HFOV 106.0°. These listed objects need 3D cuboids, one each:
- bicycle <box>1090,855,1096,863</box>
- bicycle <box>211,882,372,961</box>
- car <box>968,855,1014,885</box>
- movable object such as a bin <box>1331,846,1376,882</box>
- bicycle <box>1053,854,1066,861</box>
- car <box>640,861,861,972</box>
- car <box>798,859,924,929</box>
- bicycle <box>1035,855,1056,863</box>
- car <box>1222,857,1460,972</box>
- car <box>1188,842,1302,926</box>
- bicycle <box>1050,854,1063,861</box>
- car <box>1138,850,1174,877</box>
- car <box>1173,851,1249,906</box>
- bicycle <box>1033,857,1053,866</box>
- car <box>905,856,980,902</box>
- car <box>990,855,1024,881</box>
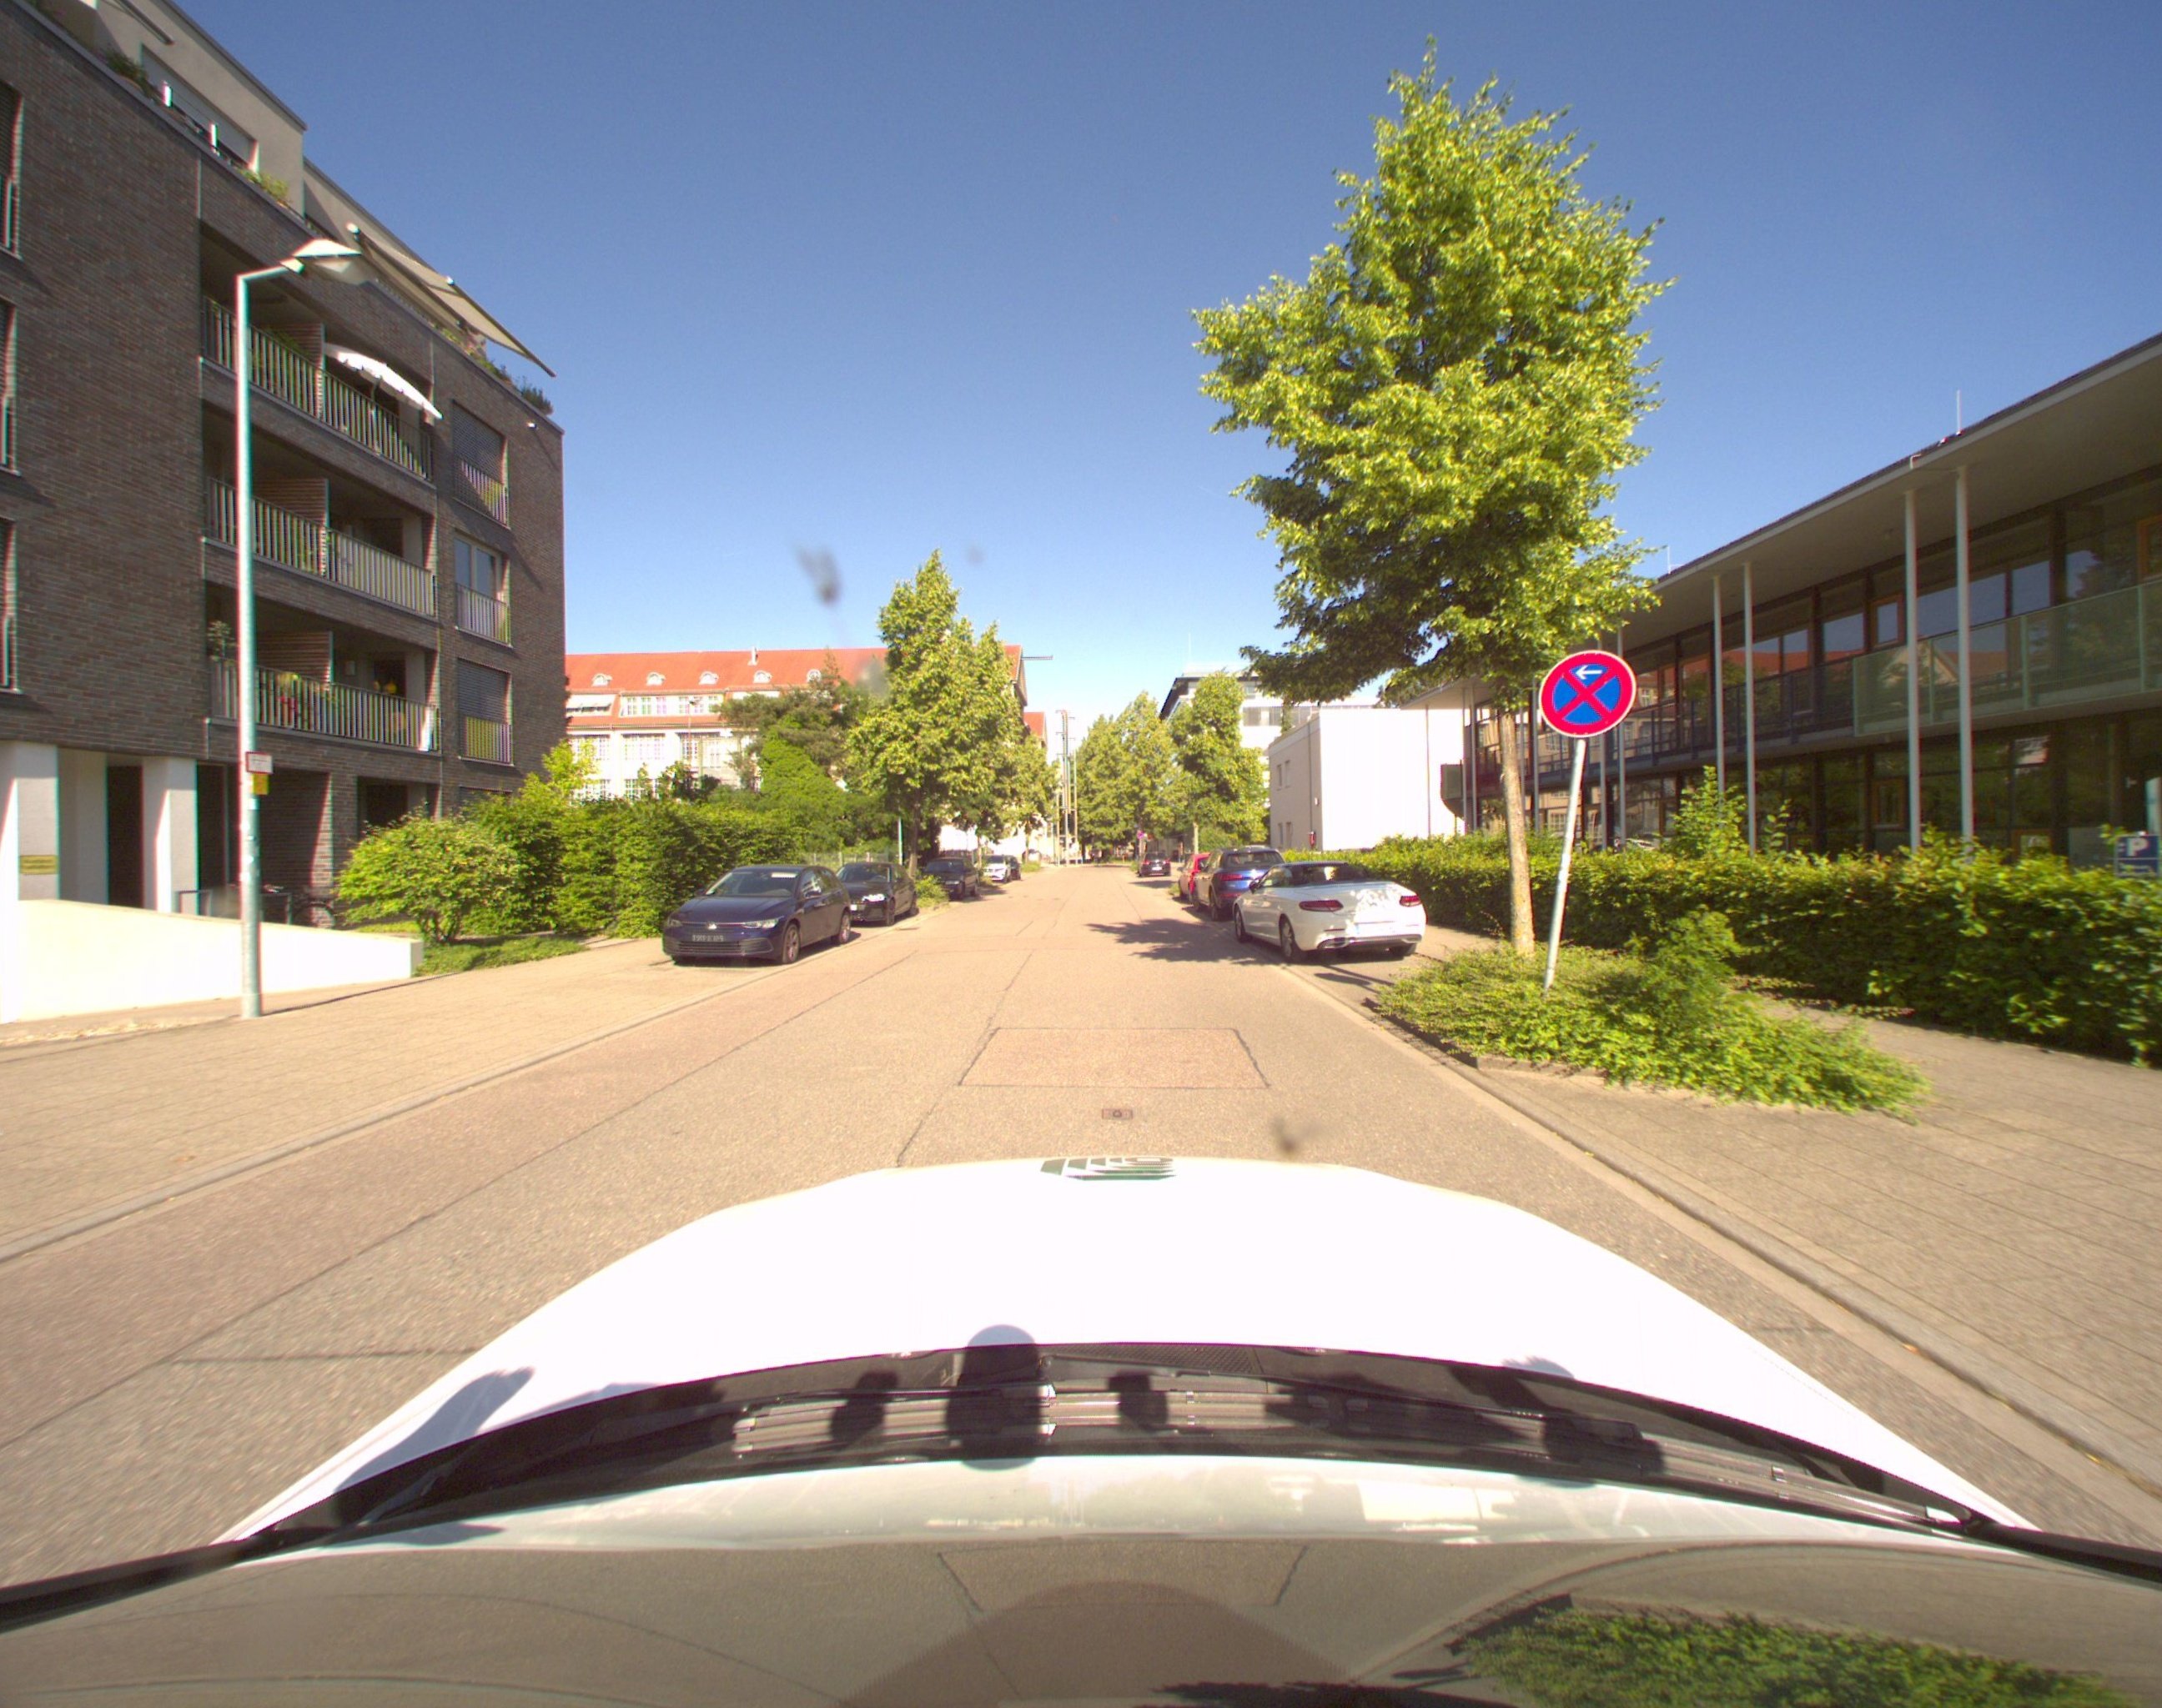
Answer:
[{"bbox_3d":[1.783,0.724,120.111,0.618,1.197,2.129,-1,0,-4],"label":"bicycle"},{"bbox_3d":[-12.161,0.999,12.642,0.638,1.074,1.875,0,0,1],"label":"bicycle"},{"bbox_3d":[-4.631,0.798,42.374,1.834,1.474,4.002,1,0,1],"label":"car"},{"bbox_3d":[11.463,0.422,34.357,1.361,1.448,1.632,-1,0,2],"label":"movable object such as a bin"},{"bbox_3d":[-3.390,0.570,127.067,2.049,1.066,0.507,-1,0,2],"label":"bicycle"},{"bbox_3d":[-5.119,0.881,13.297,1.834,1.474,4.100,1,0,1],"label":"car"},{"bbox_3d":[-5.114,0.872,19.519,1.834,1.474,4.028,1,0,1],"label":"car"},{"bbox_3d":[-4.672,0.679,106.883,2.795,1.063,0.718,-1,0,-4],"label":"bicycle"},{"bbox_3d":[3.683,0.760,12.608,1.958,1.320,4.772,-3,0,-2],"label":"car"},{"bbox_3d":[3.759,0.637,19.411,1.893,1.682,4.412,-3,0,2],"label":"car"},{"bbox_3d":[-3.824,0.589,126.435,2.049,1.066,0.507,-1,0,2],"label":"bicycle"},{"bbox_3d":[4.466,0.552,49.091,1.778,1.516,3.999,-1,0,0],"label":"car"},{"bbox_3d":[3.901,0.693,24.994,1.670,1.504,3.846,-2,0,0],"label":"car"},{"bbox_3d":[-5.275,1.028,113.671,2.795,1.150,0.718,-1,0,-4],"label":"bicycle"},{"bbox_3d":[-4.819,0.819,29.007,1.834,1.474,4.360,1,0,1],"label":"car"},{"bbox_3d":[-4.334,0.796,48.002,1.712,1.474,3.545,1,0,-1],"label":"car"}]
